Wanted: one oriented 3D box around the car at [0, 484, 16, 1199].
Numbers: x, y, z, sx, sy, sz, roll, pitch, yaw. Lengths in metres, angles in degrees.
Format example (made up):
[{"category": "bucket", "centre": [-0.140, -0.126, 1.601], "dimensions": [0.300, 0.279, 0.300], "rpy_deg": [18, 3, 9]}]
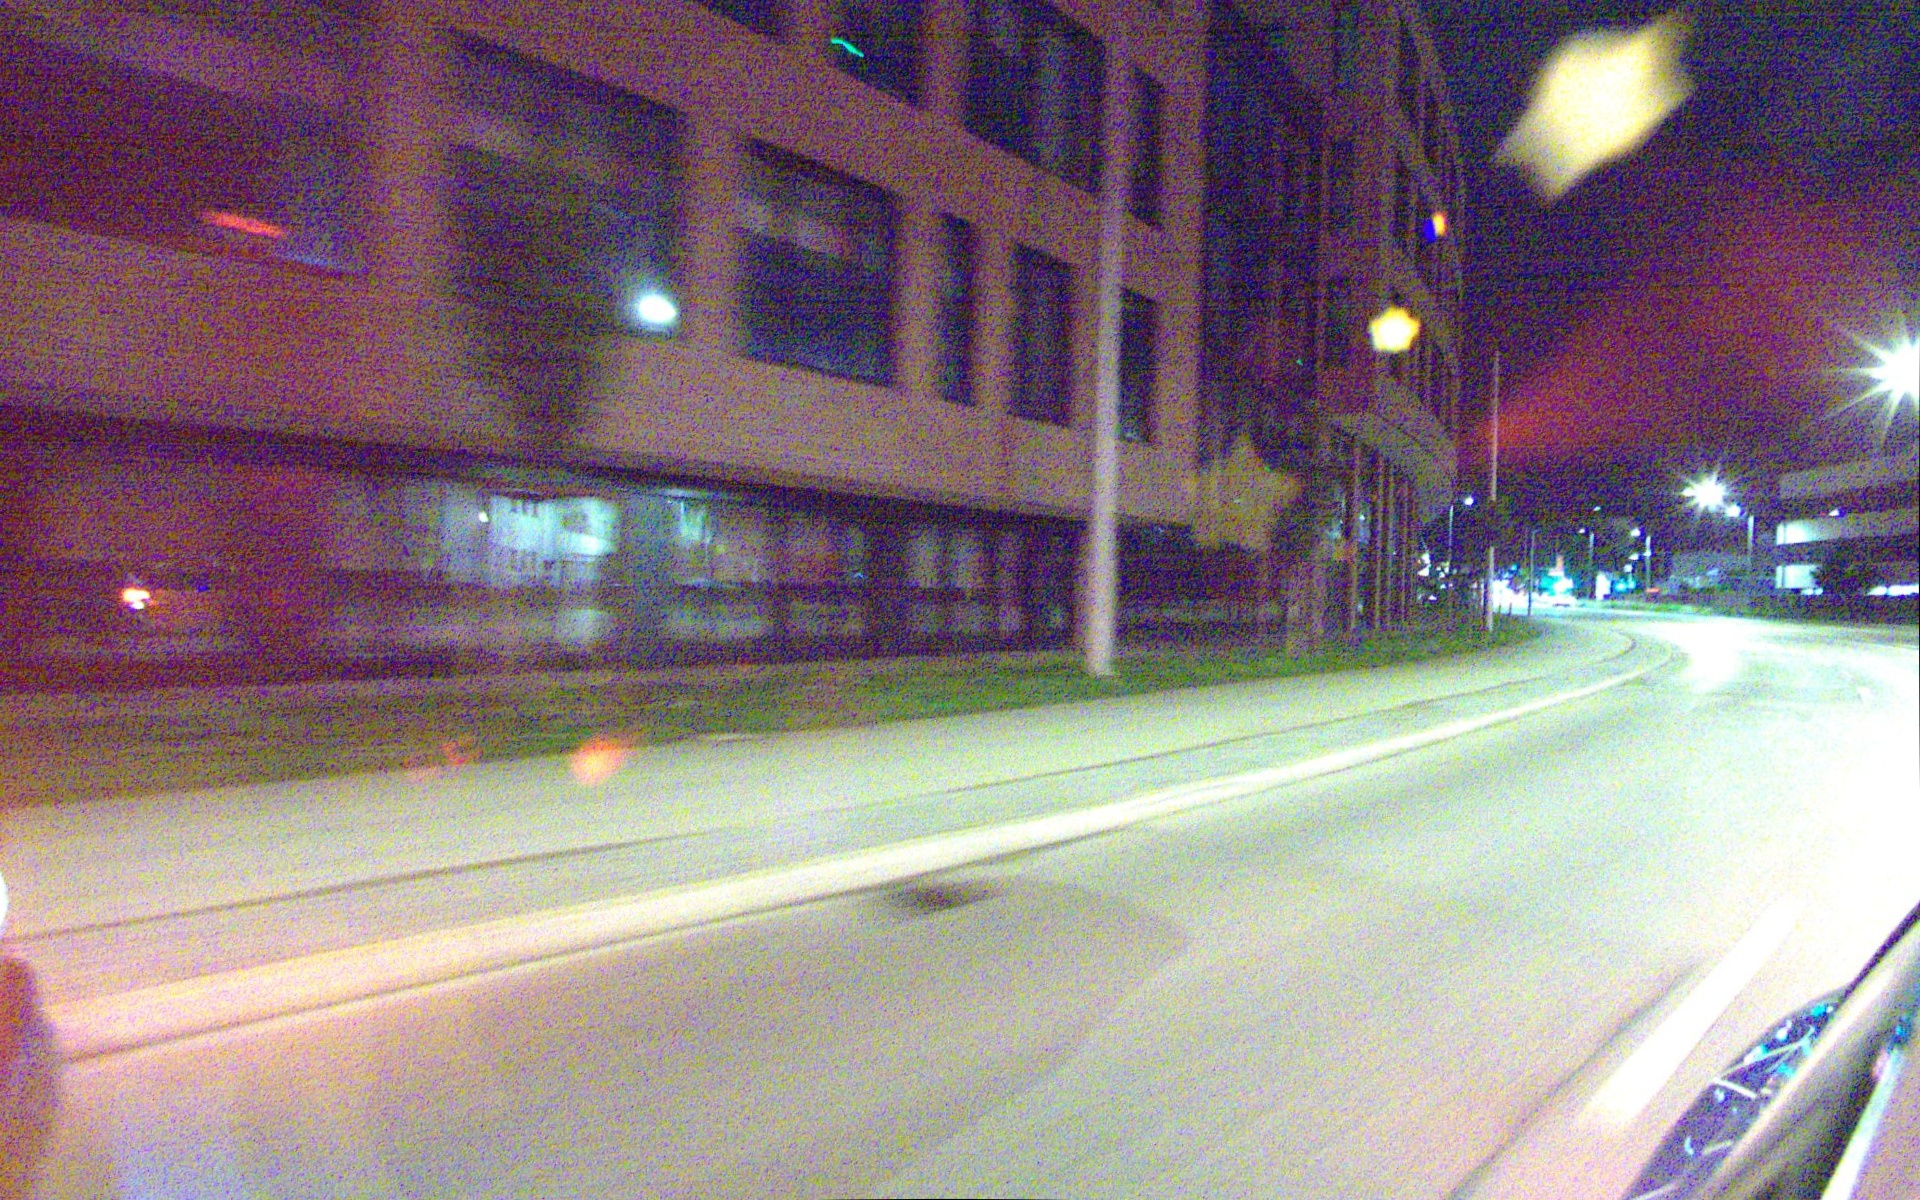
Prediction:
[{"category": "car", "centre": [-3.365, 0.585, 0.500], "dimensions": [4.155, 1.631, 1.673], "rpy_deg": [-1, 0, -41]}]
